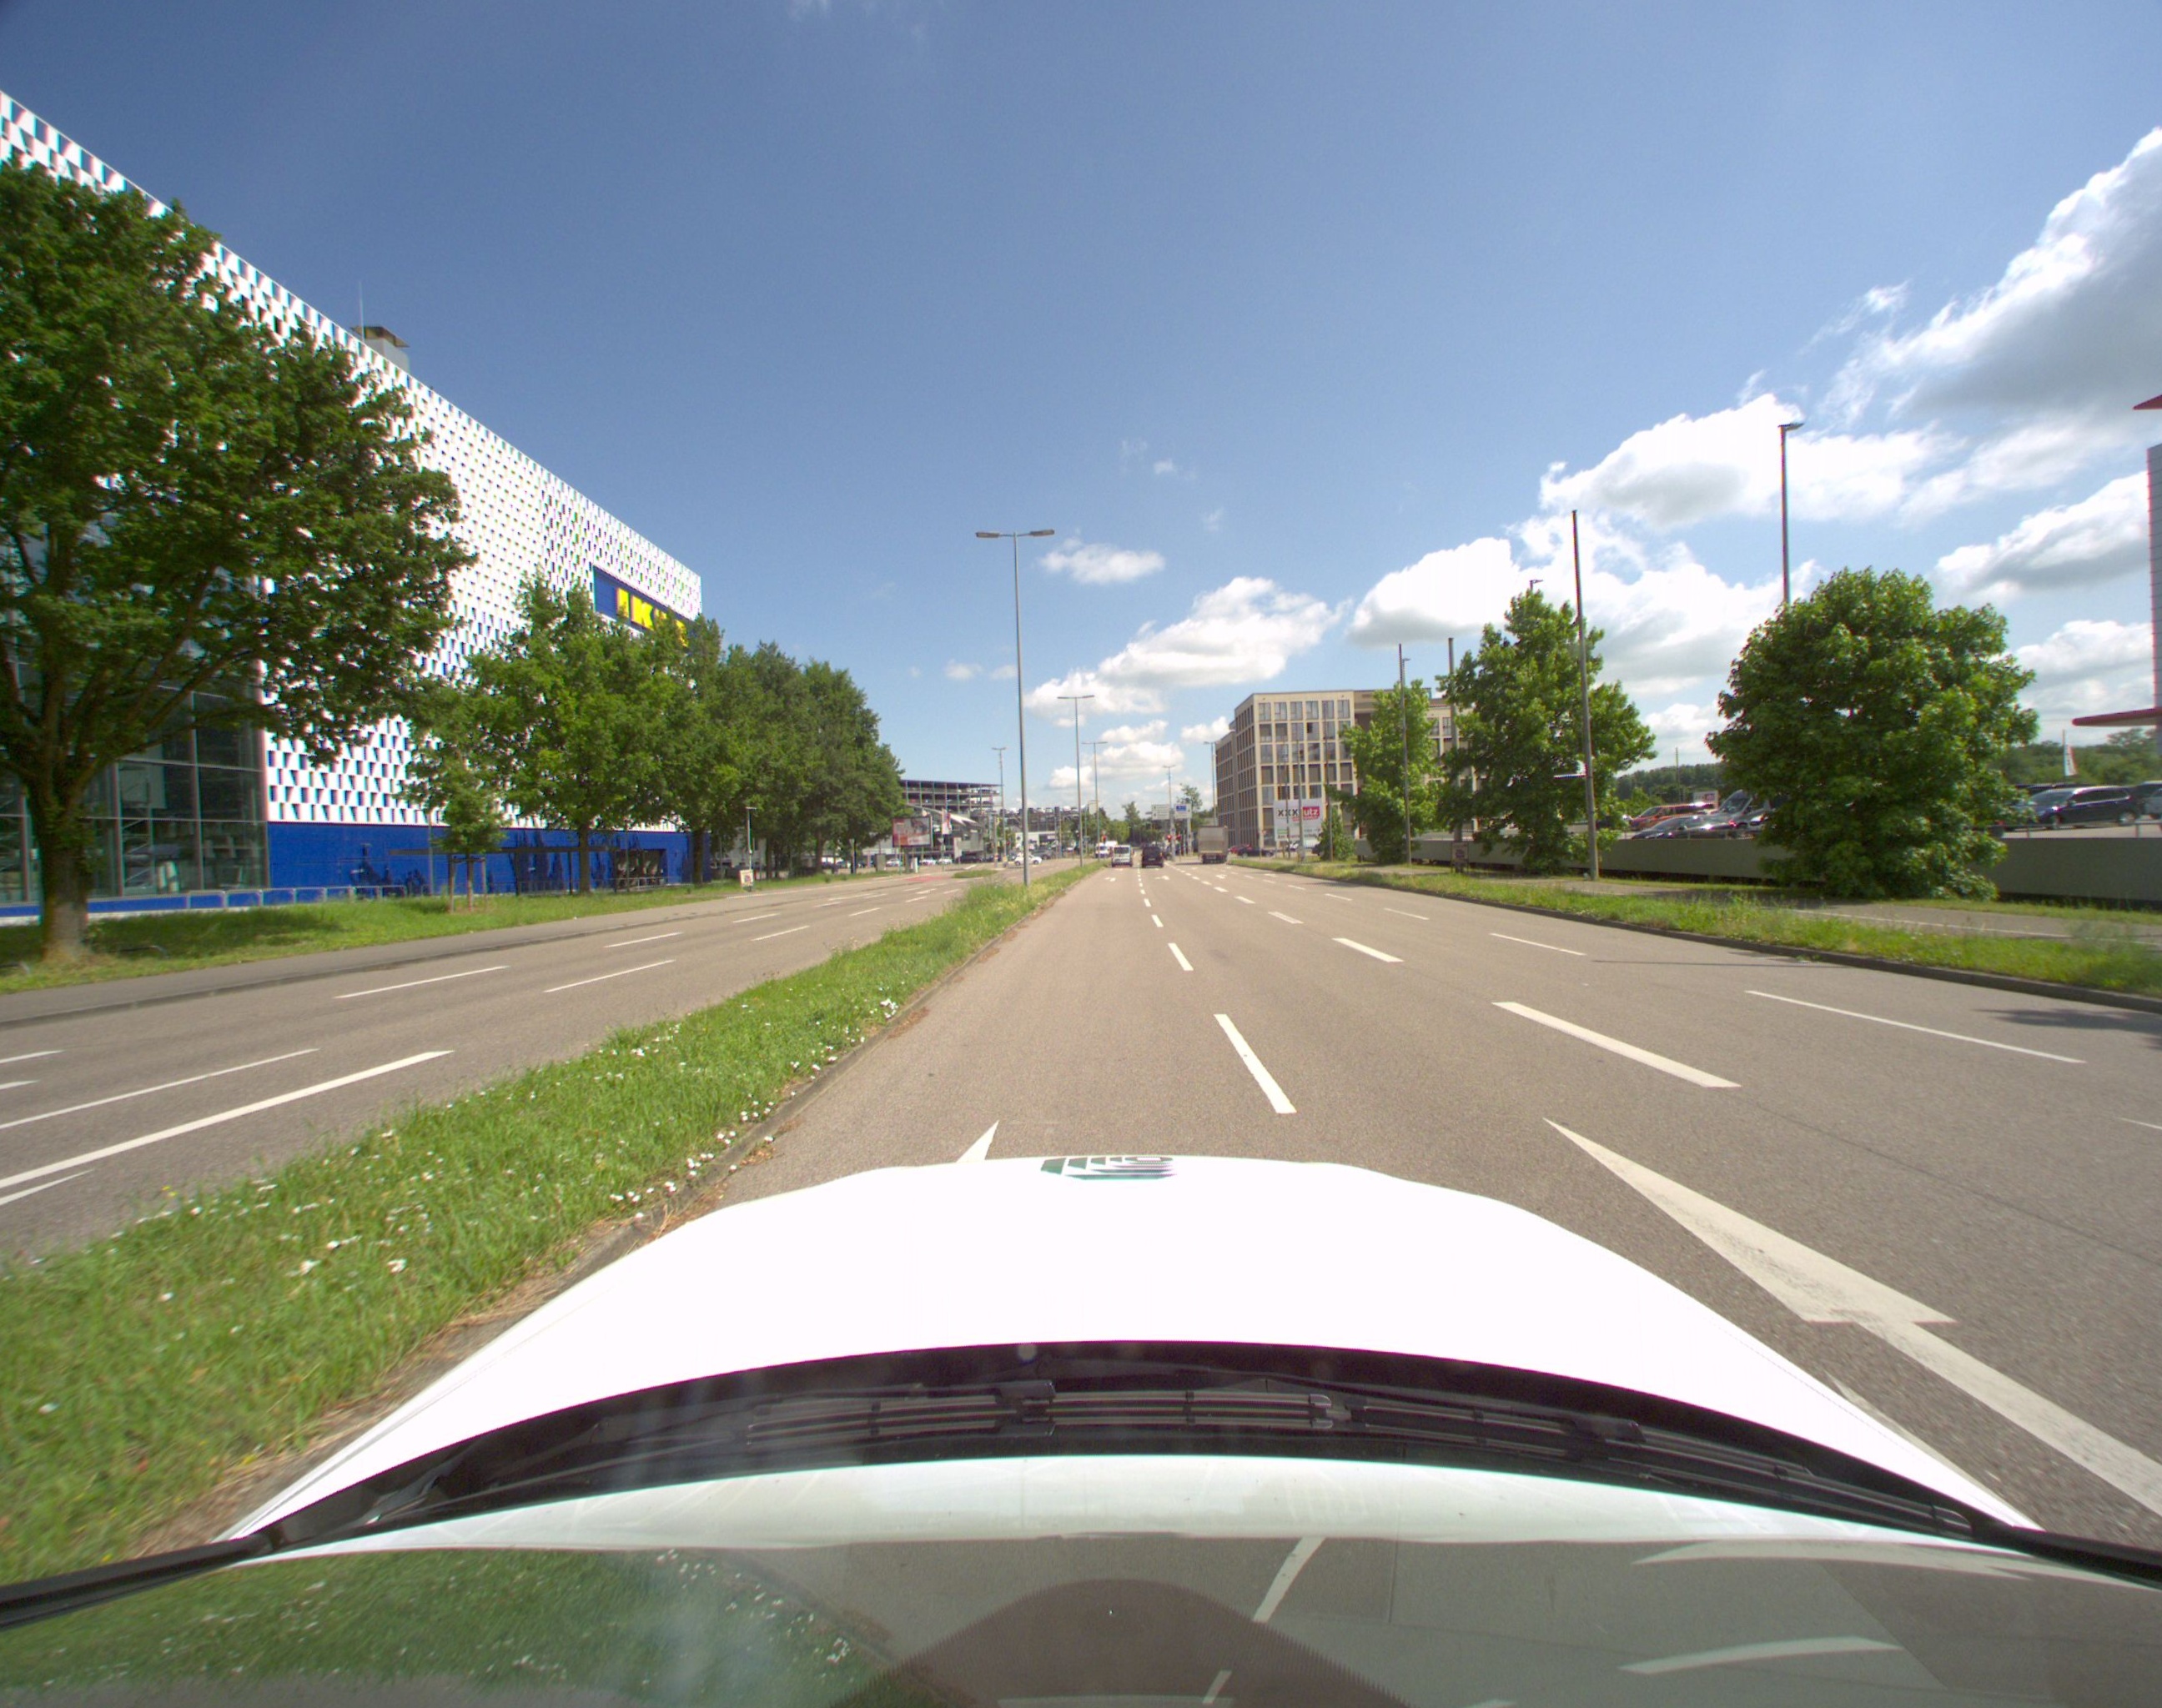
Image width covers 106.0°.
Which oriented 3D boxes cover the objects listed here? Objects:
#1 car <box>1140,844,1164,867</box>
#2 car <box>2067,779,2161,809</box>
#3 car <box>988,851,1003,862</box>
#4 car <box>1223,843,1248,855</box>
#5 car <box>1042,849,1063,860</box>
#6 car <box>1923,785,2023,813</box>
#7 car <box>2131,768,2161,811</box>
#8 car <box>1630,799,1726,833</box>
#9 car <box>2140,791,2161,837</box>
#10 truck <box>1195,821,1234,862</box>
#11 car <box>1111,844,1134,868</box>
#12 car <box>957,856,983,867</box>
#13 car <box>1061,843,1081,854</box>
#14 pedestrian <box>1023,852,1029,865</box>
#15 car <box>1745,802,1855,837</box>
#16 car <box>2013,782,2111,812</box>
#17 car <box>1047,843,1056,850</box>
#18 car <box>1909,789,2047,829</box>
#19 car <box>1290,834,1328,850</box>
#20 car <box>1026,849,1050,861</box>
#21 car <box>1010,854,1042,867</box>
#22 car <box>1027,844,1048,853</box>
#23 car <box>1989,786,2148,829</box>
[{"bbox_3d":[6.081,0.100,69.361,1.810,1.808,4.008,-1,0,7],"label":"car"},{"bbox_3d":[54.934,-3.163,42.937,3.881,1.442,1.636,-2,1,2],"label":"car"},{"bbox_3d":[-13.463,0.379,128.620,1.819,1.552,3.982,-2,0,-13],"label":"car"},{"bbox_3d":[22.268,-0.718,117.351,3.261,1.405,1.335,-2,9,1],"label":"car"},{"bbox_3d":[-5.100,0.036,144.321,3.497,1.712,1.603,-4,1,0],"label":"car"},{"bbox_3d":[55.736,-3.440,50.931,3.971,1.543,2.002,-2,1,2],"label":"car"},{"bbox_3d":[49.305,-2.919,35.811,3.868,1.837,1.776,-2,1,3],"label":"car"},{"bbox_3d":[41.022,-2.591,56.026,5.142,2.195,1.987,-1,0,1],"label":"car"},{"bbox_3d":[34.816,-1.337,24.272,4.172,1.389,1.892,-4,1,-2],"label":"car"},{"bbox_3d":[13.781,-1.302,83.299,3.107,3.940,8.895,0,2,15],"label":"truck"},{"bbox_3d":[3.793,0.164,74.448,1.846,2.018,4.007,-1,1,6],"label":"car"},{"bbox_3d":[-17.447,1.180,128.027,3.782,1.513,1.678,-2,1,-2],"label":"car"},{"bbox_3d":[-1.998,-1.118,164.731,3.978,1.925,1.825,-2,0,-3],"label":"car"},{"bbox_3d":[-6.355,0.553,94.814,0.464,1.512,0.515,-2,0,29],"label":"pedestrian"},{"bbox_3d":[35.996,-1.713,40.855,3.974,1.514,1.747,-2,0,0],"label":"car"},{"bbox_3d":[54.935,-3.172,45.624,3.512,1.464,1.586,-2,1,2],"label":"car"},{"bbox_3d":[-6.775,-1.810,185.641,1.840,1.530,3.999,-2,1,-1],"label":"car"},{"bbox_3d":[39.745,-1.985,36.139,4.169,1.434,1.727,-4,1,1],"label":"car"},{"bbox_3d":[34.855,-1.828,124.851,5.459,2.255,2.007,-2,1,12],"label":"car"},{"bbox_3d":[-7.018,0.181,133.428,3.849,1.639,1.858,-4,1,0],"label":"car"},{"bbox_3d":[-6.958,0.787,102.988,3.840,1.466,1.695,-2,1,-2],"label":"car"},{"bbox_3d":[-8.718,-1.148,164.454,4.154,1.712,1.687,-1,1,-3],"label":"car"},{"bbox_3d":[40.297,-1.874,33.320,4.169,1.434,1.893,-4,1,1],"label":"car"}]
